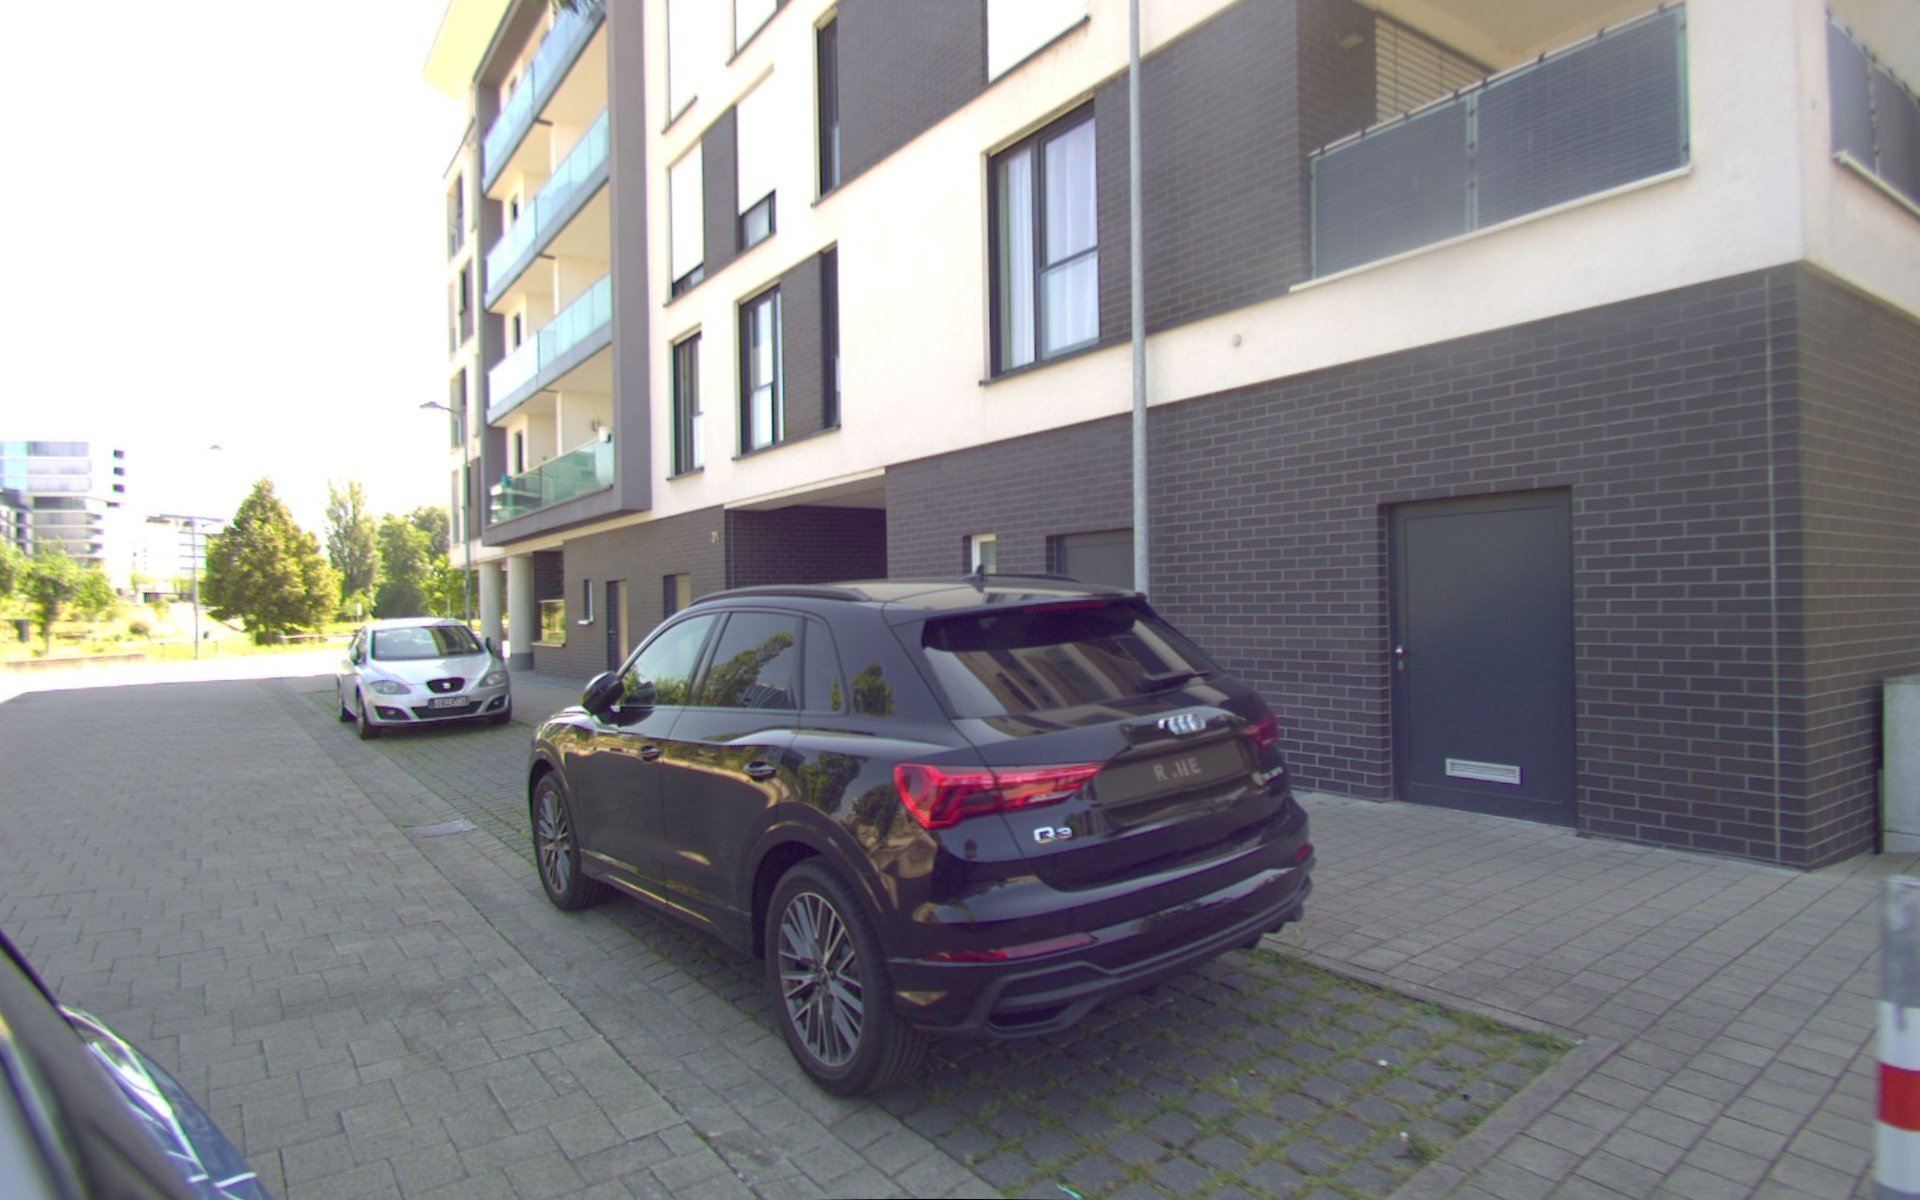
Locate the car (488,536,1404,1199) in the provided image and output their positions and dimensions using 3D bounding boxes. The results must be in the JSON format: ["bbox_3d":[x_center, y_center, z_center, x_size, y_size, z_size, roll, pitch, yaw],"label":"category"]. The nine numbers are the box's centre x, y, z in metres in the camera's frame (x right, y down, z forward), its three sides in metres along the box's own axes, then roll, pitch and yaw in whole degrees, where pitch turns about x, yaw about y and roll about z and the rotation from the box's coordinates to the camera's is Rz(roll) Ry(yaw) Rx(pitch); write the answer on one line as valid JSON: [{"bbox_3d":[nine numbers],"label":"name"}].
[{"bbox_3d":[-0.589,0.638,4.579,1.751,1.531,4.405,-3,1,-39],"label":"car"}]

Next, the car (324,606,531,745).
[{"bbox_3d":[-7.416,0.928,13.880,1.760,1.516,4.123,-3,1,-38],"label":"car"}]

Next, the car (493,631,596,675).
[{"bbox_3d":[-19.111,2.418,46.645,1.994,1.796,3.955,-2,0,33],"label":"car"}]
